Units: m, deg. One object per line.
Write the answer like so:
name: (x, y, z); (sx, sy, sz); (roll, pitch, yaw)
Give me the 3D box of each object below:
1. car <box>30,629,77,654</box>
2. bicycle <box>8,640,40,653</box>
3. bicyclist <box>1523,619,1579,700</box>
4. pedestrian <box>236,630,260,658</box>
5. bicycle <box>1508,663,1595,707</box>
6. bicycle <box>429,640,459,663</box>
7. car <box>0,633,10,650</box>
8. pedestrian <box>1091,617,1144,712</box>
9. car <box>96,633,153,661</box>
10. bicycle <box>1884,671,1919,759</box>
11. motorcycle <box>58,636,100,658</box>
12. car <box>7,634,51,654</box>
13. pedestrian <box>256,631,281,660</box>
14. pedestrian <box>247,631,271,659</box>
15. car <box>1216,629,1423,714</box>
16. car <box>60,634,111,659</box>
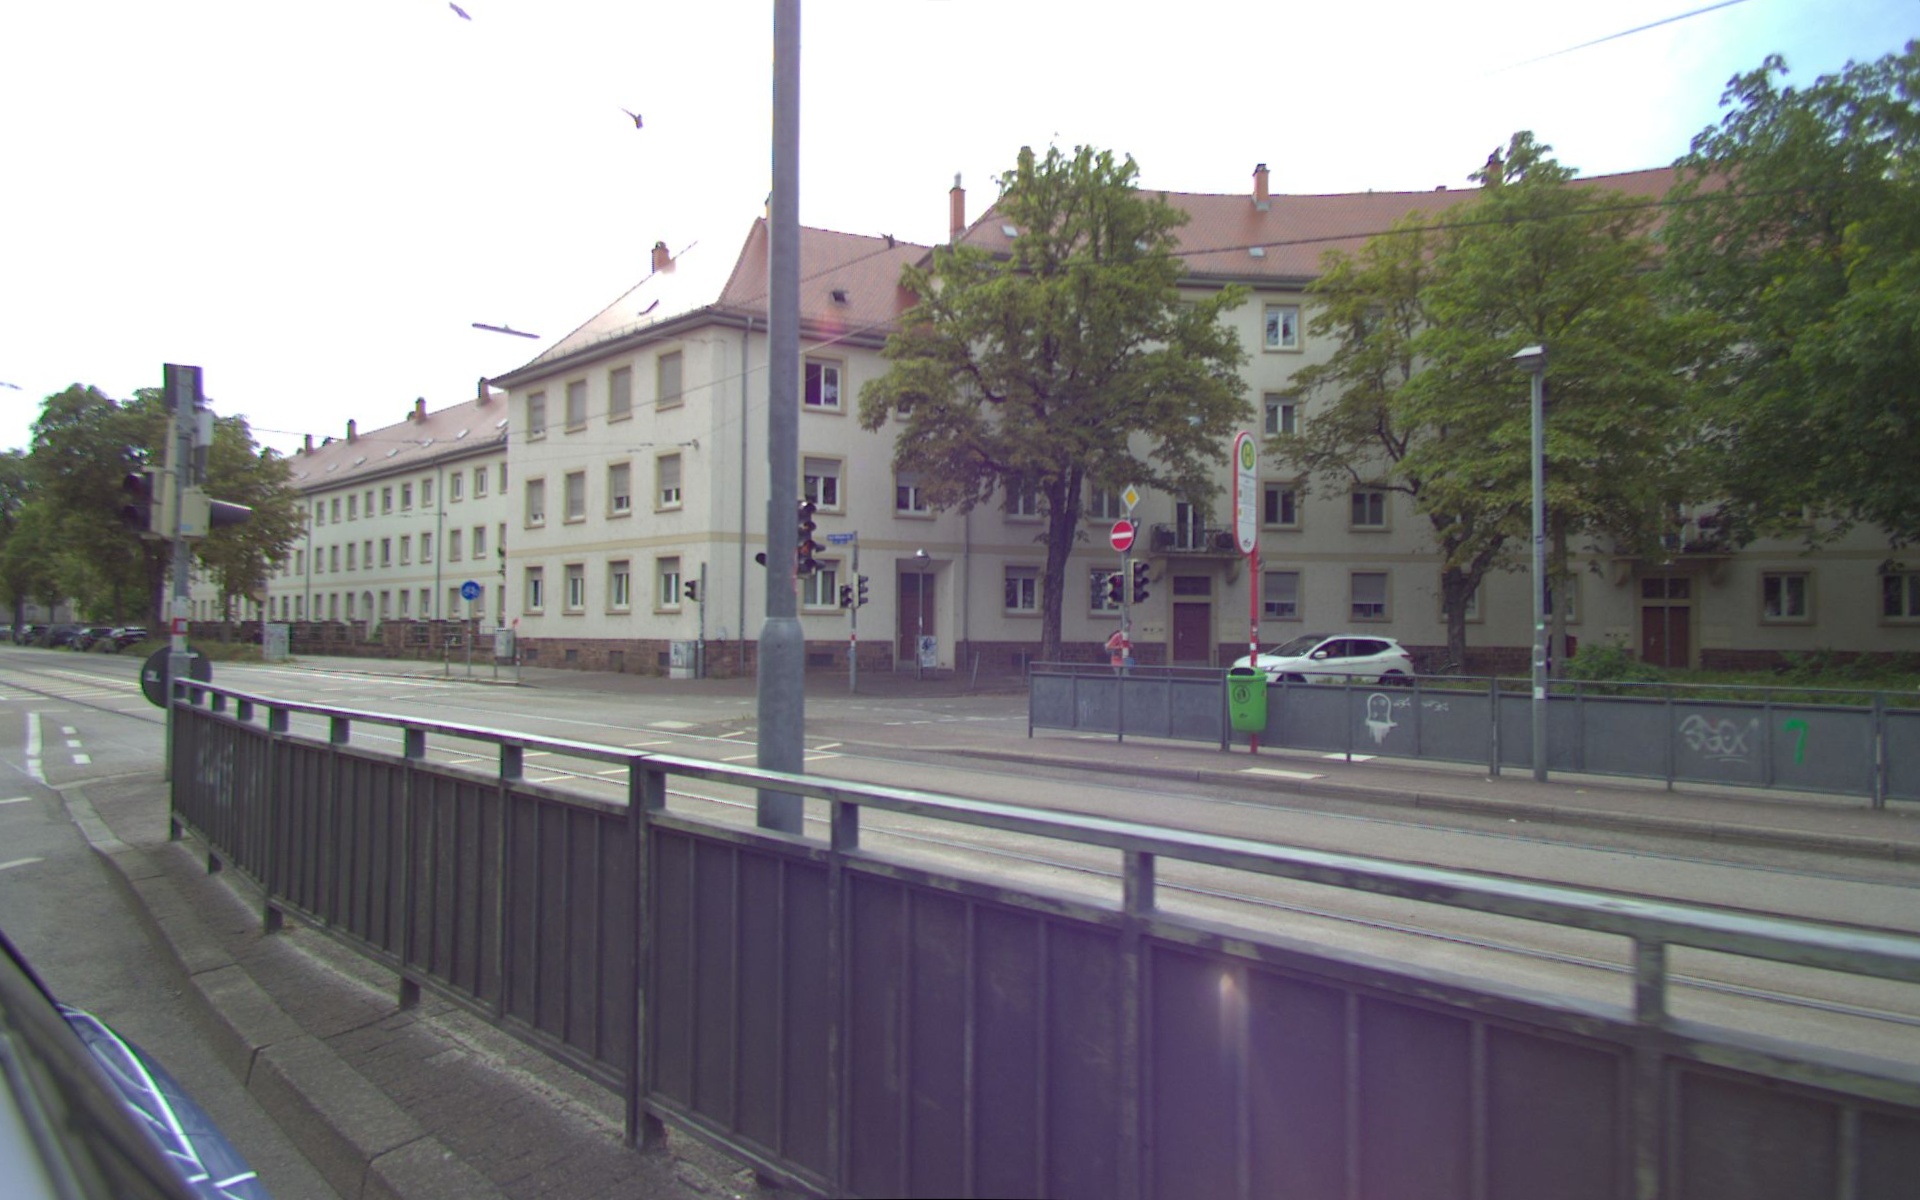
car: (-61.540, 2.813, 68.681); (4.296, 1.624, 1.767); (-2, -3, 40)
bicycle: (-72.131, 3.604, 77.969); (0.671, 0.978, 1.654); (-1, -3, 31)
bicyclist: (13.299, 1.322, 22.785); (0.902, 1.789, 0.610); (0, -3, 13)
pedestrian: (-37.989, 2.347, 54.014); (0.731, 1.524, 0.825); (-1, -3, 35)
bicycle: (13.282, 1.899, 22.762); (1.560, 0.944, 0.606); (0, -3, 13)
bicycle: (-21.441, 2.141, 42.051); (1.671, 0.922, 0.473); (-2, -3, 40)
car: (-83.355, 3.550, 87.092); (4.294, 1.482, 1.680); (-1, -2, 38)
pedestrian: (3.260, 1.331, 21.024); (0.720, 1.915, 0.838); (2, -3, -32)
car: (-46.574, 2.601, 56.360); (4.296, 1.434, 1.679); (-2, 0, 40)
bicycle: (11.346, 1.297, 11.237); (1.549, 0.956, 0.654); (-1, -3, 40)
motorcycle: (-55.762, 2.963, 64.049); (0.591, 1.269, 1.850); (-2, 2, 36)
car: (-68.771, 3.254, 74.773); (4.293, 1.482, 1.680); (-2, -3, 38)
pedestrian: (-35.772, 2.341, 52.346); (0.731, 1.476, 0.825); (-1, -3, 35)
pedestrian: (-36.713, 2.359, 53.012); (0.731, 1.476, 0.825); (-1, -3, 35)
car: (8.329, 1.632, 23.607); (4.092, 1.734, 1.845); (3, -1, -10)
car: (-52.949, 2.764, 61.272); (4.296, 1.434, 1.679); (-2, -2, 40)
